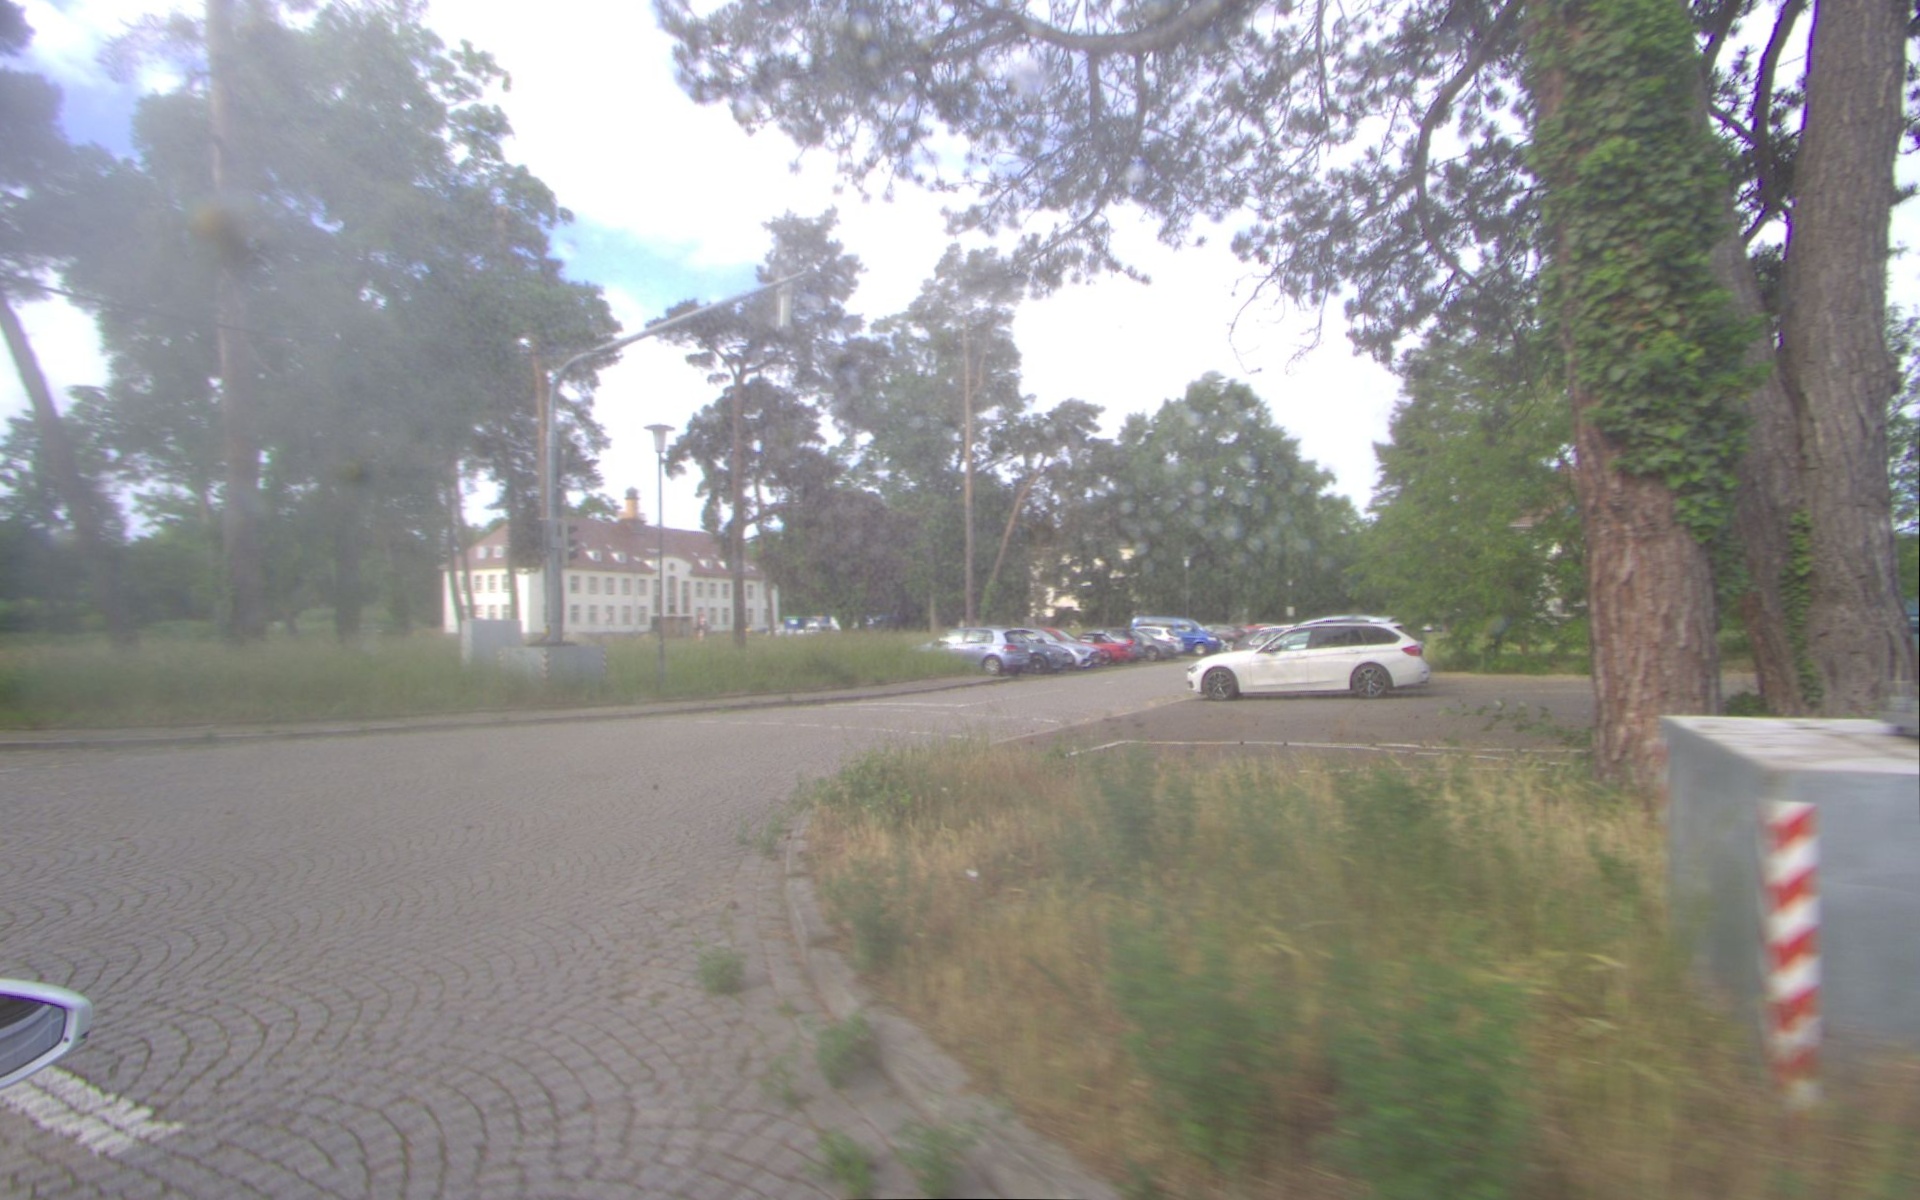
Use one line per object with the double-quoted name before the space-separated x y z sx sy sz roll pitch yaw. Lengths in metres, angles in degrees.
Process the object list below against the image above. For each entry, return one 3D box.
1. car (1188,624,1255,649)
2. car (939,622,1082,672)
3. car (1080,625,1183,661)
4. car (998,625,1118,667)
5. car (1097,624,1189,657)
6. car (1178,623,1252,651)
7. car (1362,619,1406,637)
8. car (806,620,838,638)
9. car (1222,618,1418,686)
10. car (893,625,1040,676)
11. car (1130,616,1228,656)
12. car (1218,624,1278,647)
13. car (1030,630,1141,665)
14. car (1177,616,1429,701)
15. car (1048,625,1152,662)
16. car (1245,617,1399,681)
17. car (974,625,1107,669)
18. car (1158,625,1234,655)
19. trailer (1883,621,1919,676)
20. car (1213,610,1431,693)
"car" 16.387 2.260 62.656 3.769 1.505 1.754 0 -1 28
"car" 1.682 1.543 33.511 4.442 1.556 1.865 0 -2 25
"car" 7.685 1.889 44.917 4.253 1.500 1.723 0 -1 30
"car" 3.713 1.706 38.066 4.202 1.474 1.848 0 -1 28
"car" 8.687 1.896 47.619 3.957 1.521 1.835 0 -1 30
"car" 15.302 2.212 60.087 4.016 1.596 1.947 0 -1 27
"car" 52.480 3.412 124.039 4.915 2.098 2.046 0 -2 27
"car" -18.172 3.843 131.965 2.036 2.121 4.332 -2 -3 27
"car" 8.823 1.274 24.613 4.313 1.424 1.790 -4 -2 27
"car" 0.187 1.544 31.343 4.277 1.489 1.820 0 -2 29
"car" 11.382 1.828 52.163 4.651 2.006 2.030 0 -1 27
"car" 19.917 2.461 69.270 3.768 1.509 1.781 0 -1 27
"car" 5.017 1.876 40.059 4.080 1.300 1.757 0 -1 28
"car" 6.744 1.173 19.778 4.492 1.443 1.822 -4 -3 25
"car" 5.931 1.820 42.600 4.039 1.500 1.748 0 -1 29
"car" 9.815 1.326 27.135 3.724 1.498 1.737 -4 -2 25
"car" 2.870 1.665 35.908 4.383 1.474 1.942 0 -2 29
"car" 12.790 2.143 54.352 3.744 1.513 1.720 0 -1 26
"trailer" 21.957 1.076 21.944 2.283 1.185 1.140 0 -1 27
"car" 7.923 1.156 22.059 4.272 1.594 1.823 -4 -3 23
